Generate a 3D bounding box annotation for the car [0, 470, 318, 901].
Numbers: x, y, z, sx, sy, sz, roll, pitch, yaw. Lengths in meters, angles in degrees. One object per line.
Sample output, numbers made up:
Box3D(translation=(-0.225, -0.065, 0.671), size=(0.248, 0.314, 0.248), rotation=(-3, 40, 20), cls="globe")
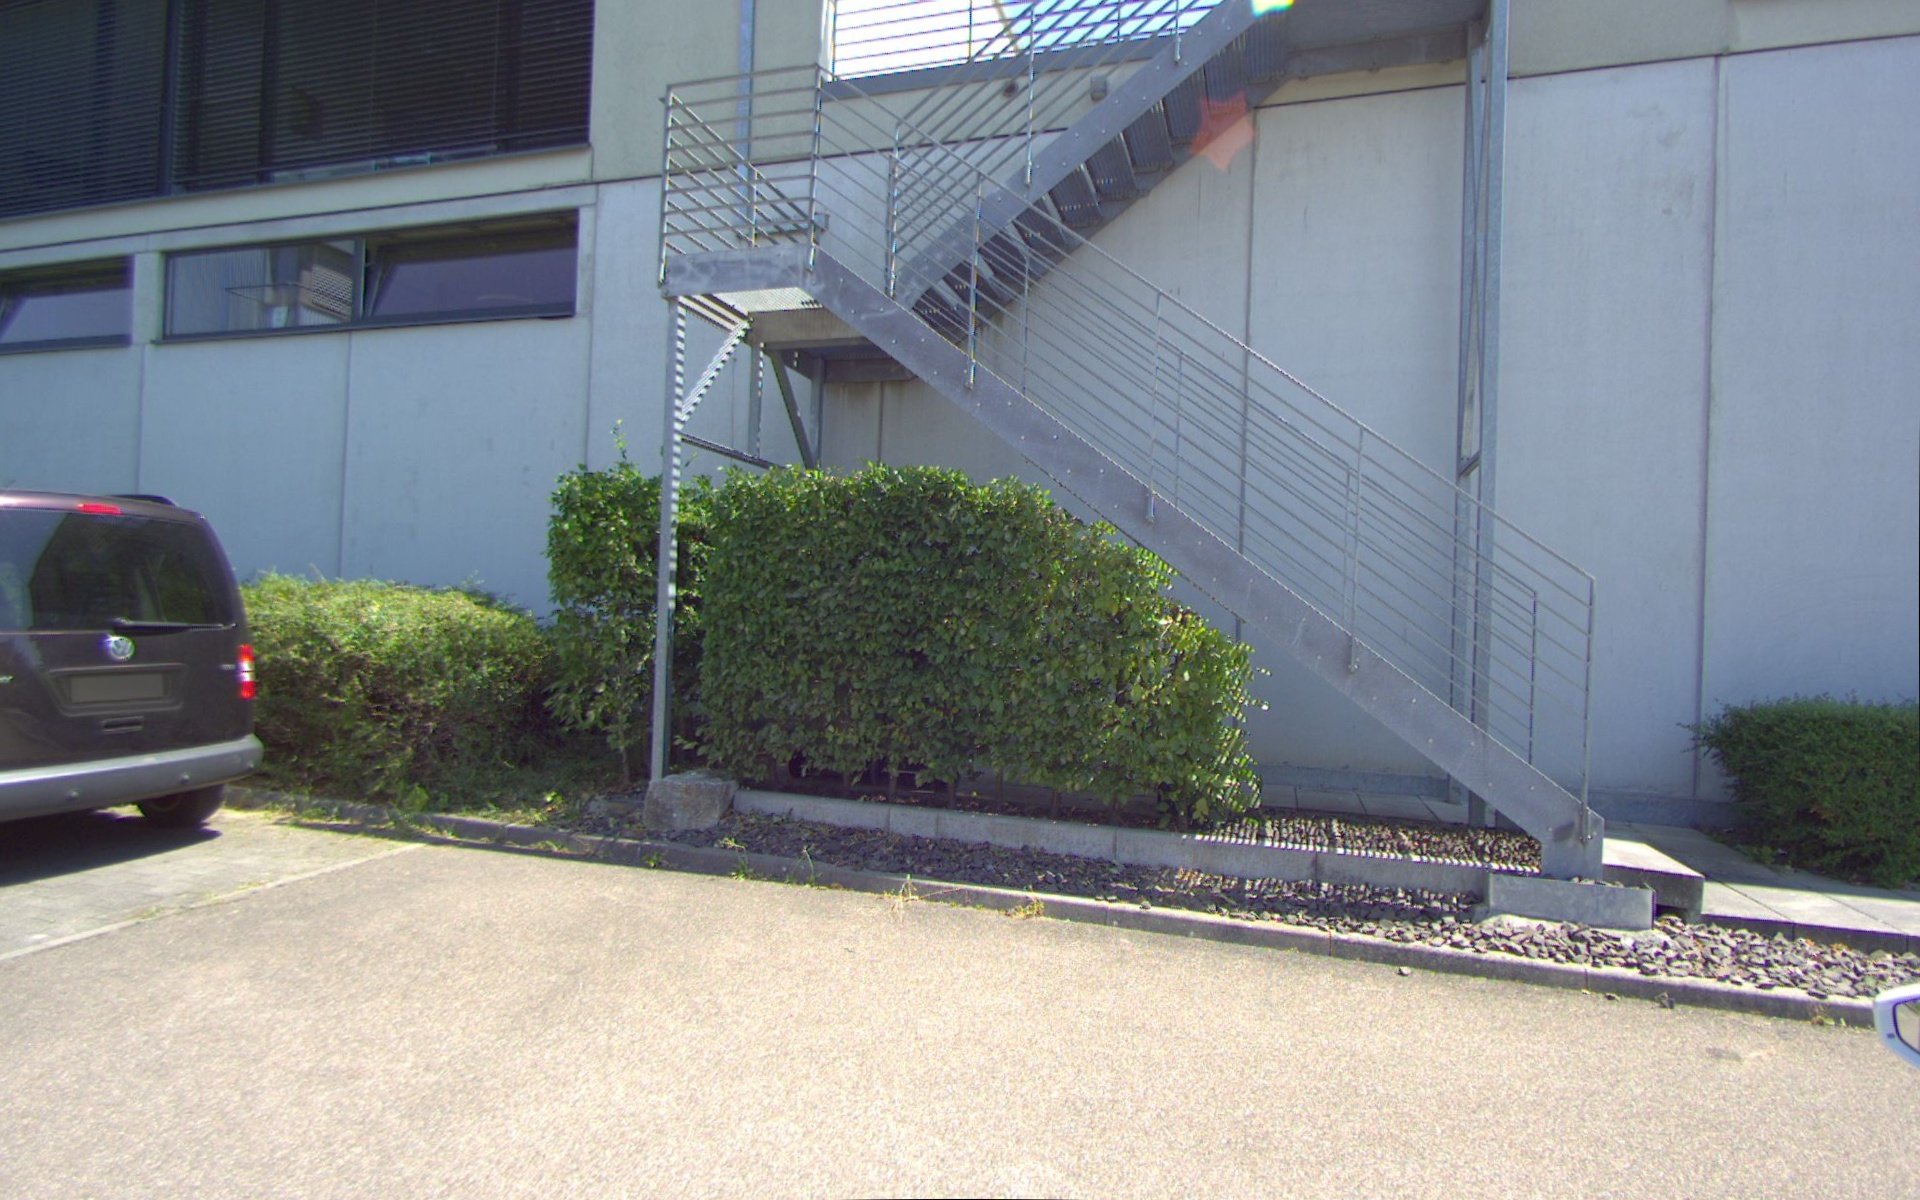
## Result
Box3D(translation=(-6.006, 0.326, 5.547), size=(4.144, 1.885, 1.869), rotation=(2, 0, 17), cls="car")
